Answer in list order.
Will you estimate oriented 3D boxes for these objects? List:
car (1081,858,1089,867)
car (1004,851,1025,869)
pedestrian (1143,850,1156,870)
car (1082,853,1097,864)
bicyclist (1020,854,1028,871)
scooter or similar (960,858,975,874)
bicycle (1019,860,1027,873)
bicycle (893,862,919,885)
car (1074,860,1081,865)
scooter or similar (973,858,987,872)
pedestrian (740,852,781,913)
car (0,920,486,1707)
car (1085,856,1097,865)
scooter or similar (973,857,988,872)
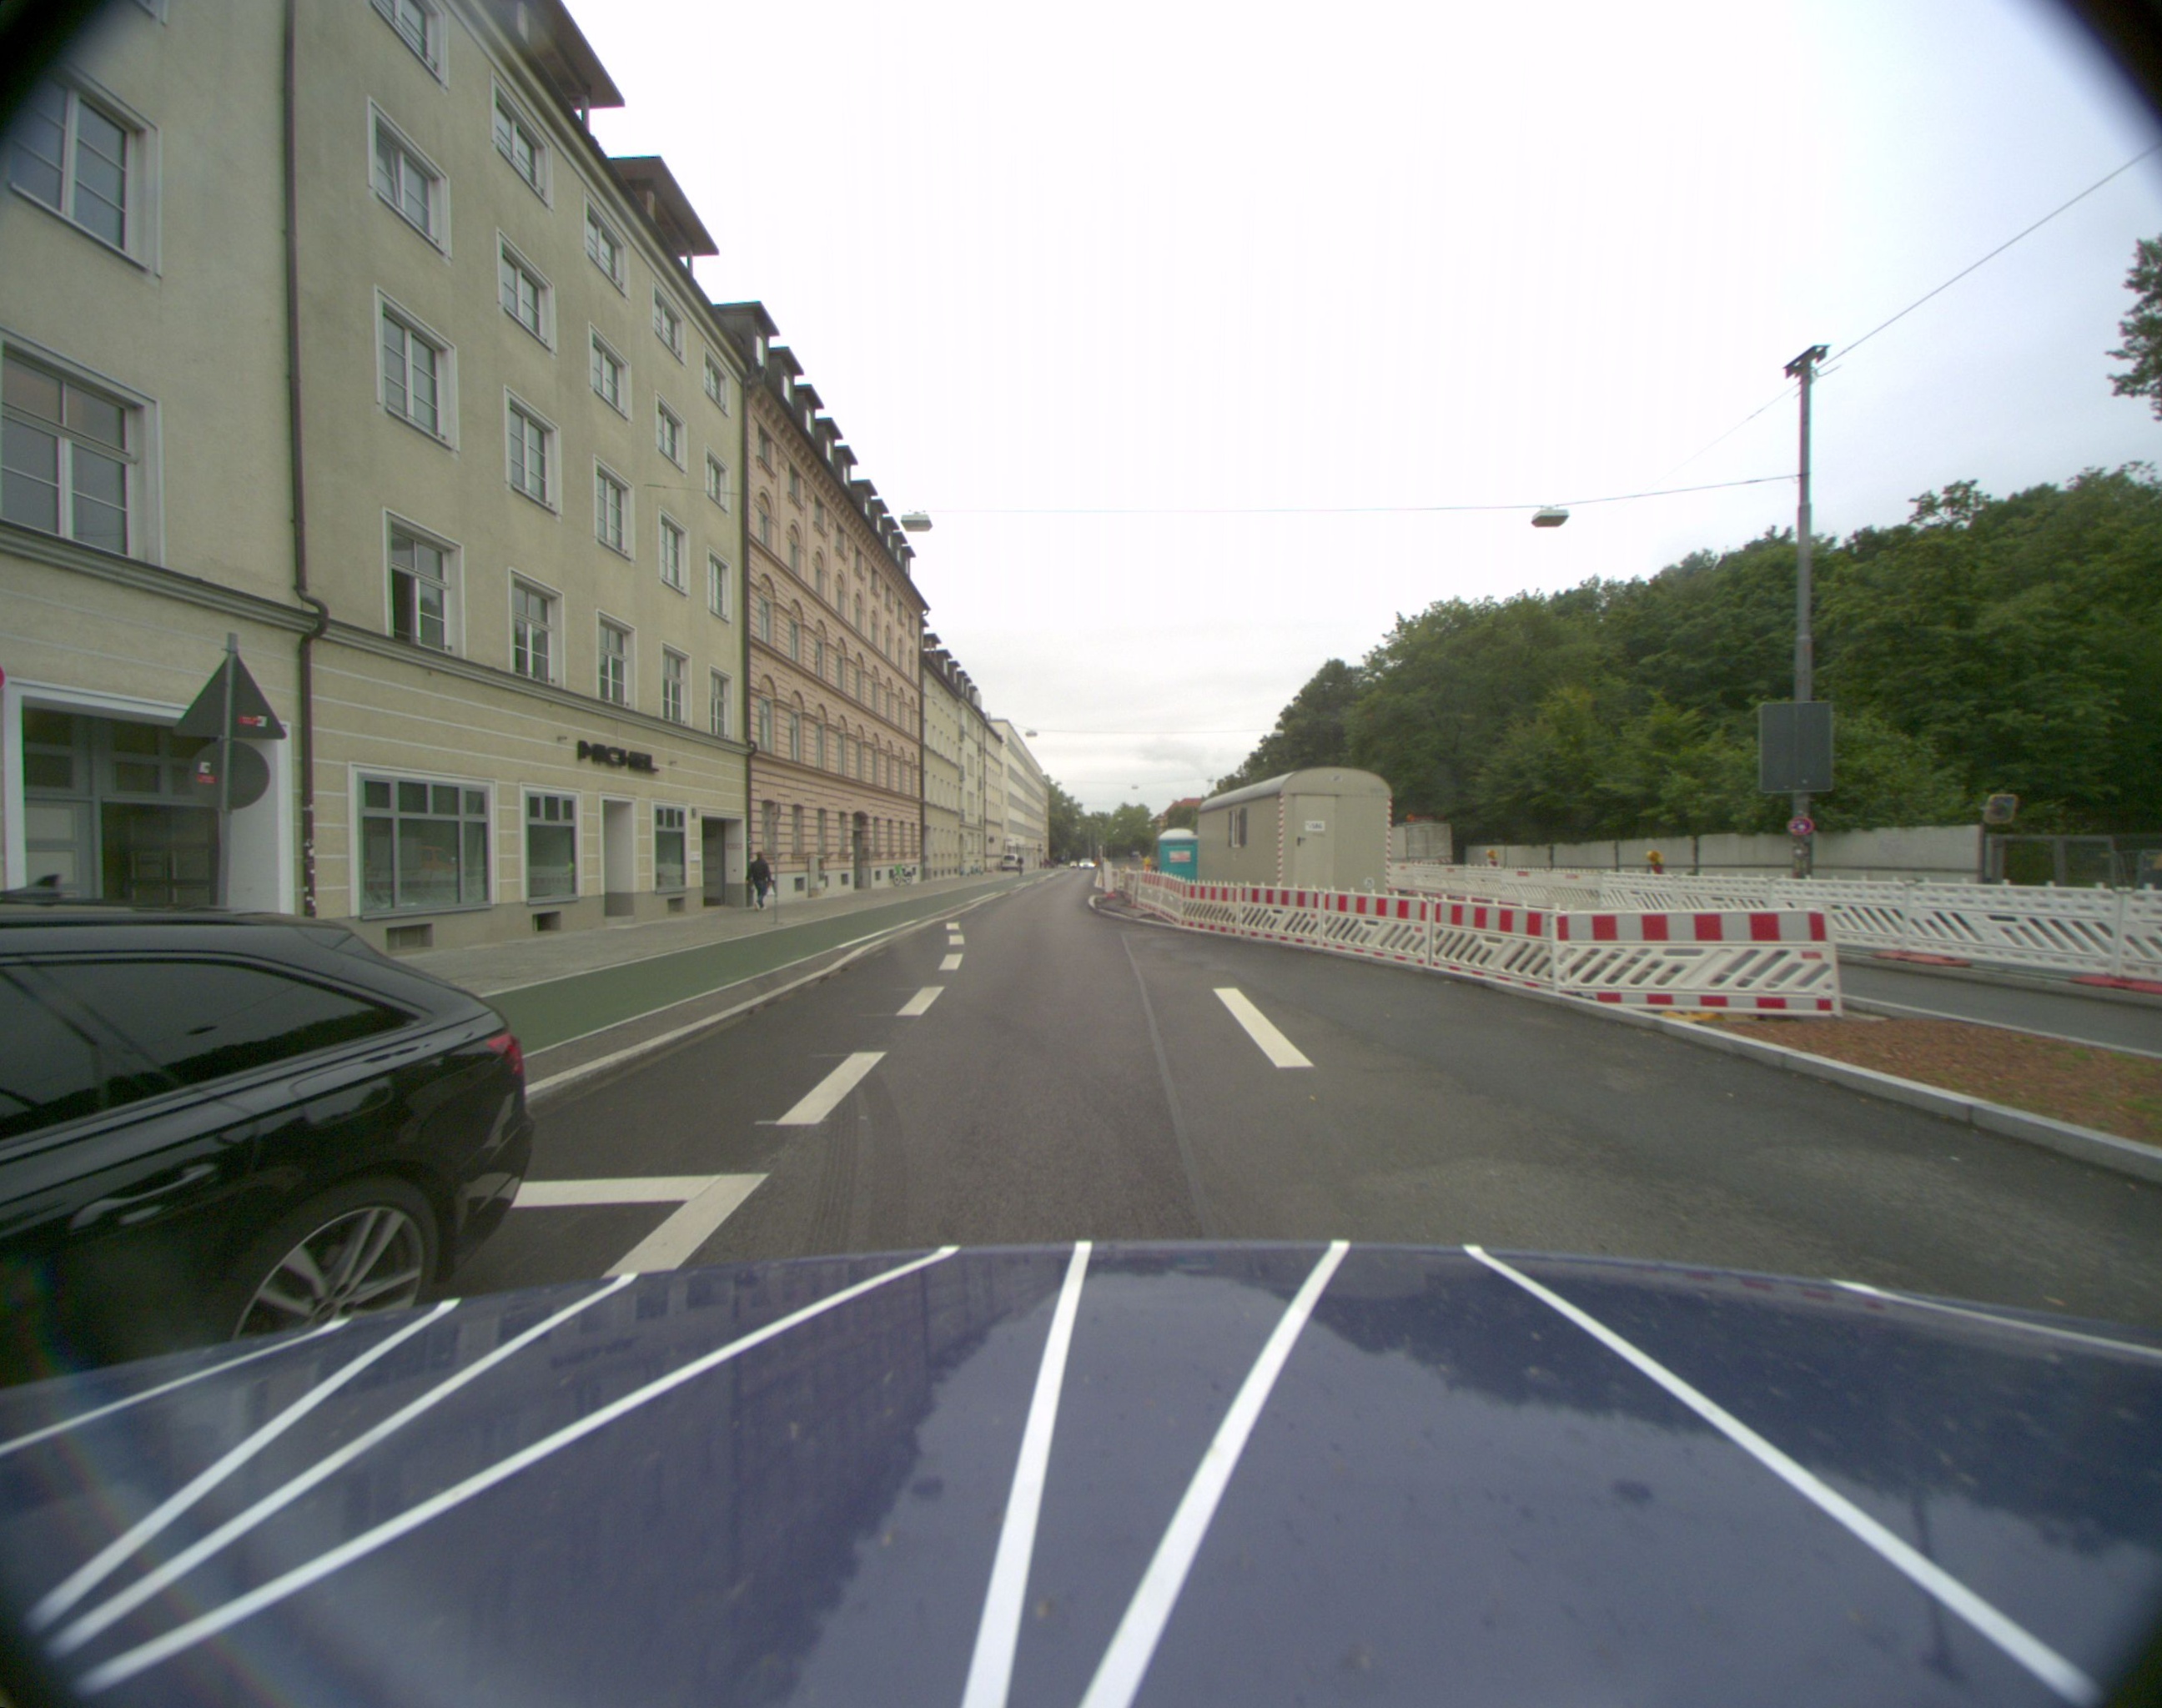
[{"bbox_3d":[0.941,2.000,186.834,1.999,2.002,3.999,-2,1,0],"label":"car"},{"bbox_3d":[-7.137,0.629,81.387,1.766,1.821,4.000,-1,0,1],"label":"car"},{"bbox_3d":[6.087,0.528,67.260,0.861,1.826,0.873,-1,1,-22],"label":"pedestrian"},{"bbox_3d":[1.150,0.585,101.645,1.758,1.461,4.001,-2,0,4],"label":"car"},{"bbox_3d":[-4.795,0.723,63.966,0.632,1.459,0.652,0,1,-5],"label":"bicyclist"},{"bbox_3d":[-8.805,0.904,58.984,0.552,1.238,1.079,0,1,36],"label":"scooter or similar"},{"bbox_3d":[-4.861,1.022,63.947,0.632,1.031,2.017,0,0,-5],"label":"bicycle"},{"bbox_3d":[-9.277,1.018,40.365,0.556,1.170,1.727,0,0,16],"label":"bicycle"},{"bbox_3d":[-1.060,2.462,225.948,1.998,1.560,4.000,-1,0,1],"label":"car"},{"bbox_3d":[-8.677,0.904,65.138,1.079,1.185,0.436,-1,1,-38],"label":"scooter or similar"},{"bbox_3d":[-9.320,0.823,22.109,0.795,1.735,0.833,-1,1,2],"label":"pedestrian"},{"bbox_3d":[-2.852,0.984,0.205,1.813,1.472,4.462,3,0,0],"label":"car"},{"bbox_3d":[1.758,1.157,135.517,1.759,1.461,3.999,-2,0,-2],"label":"car"},{"bbox_3d":[-8.443,0.892,63.796,1.078,1.185,0.453,-1,1,-28],"label":"scooter or similar"}]
